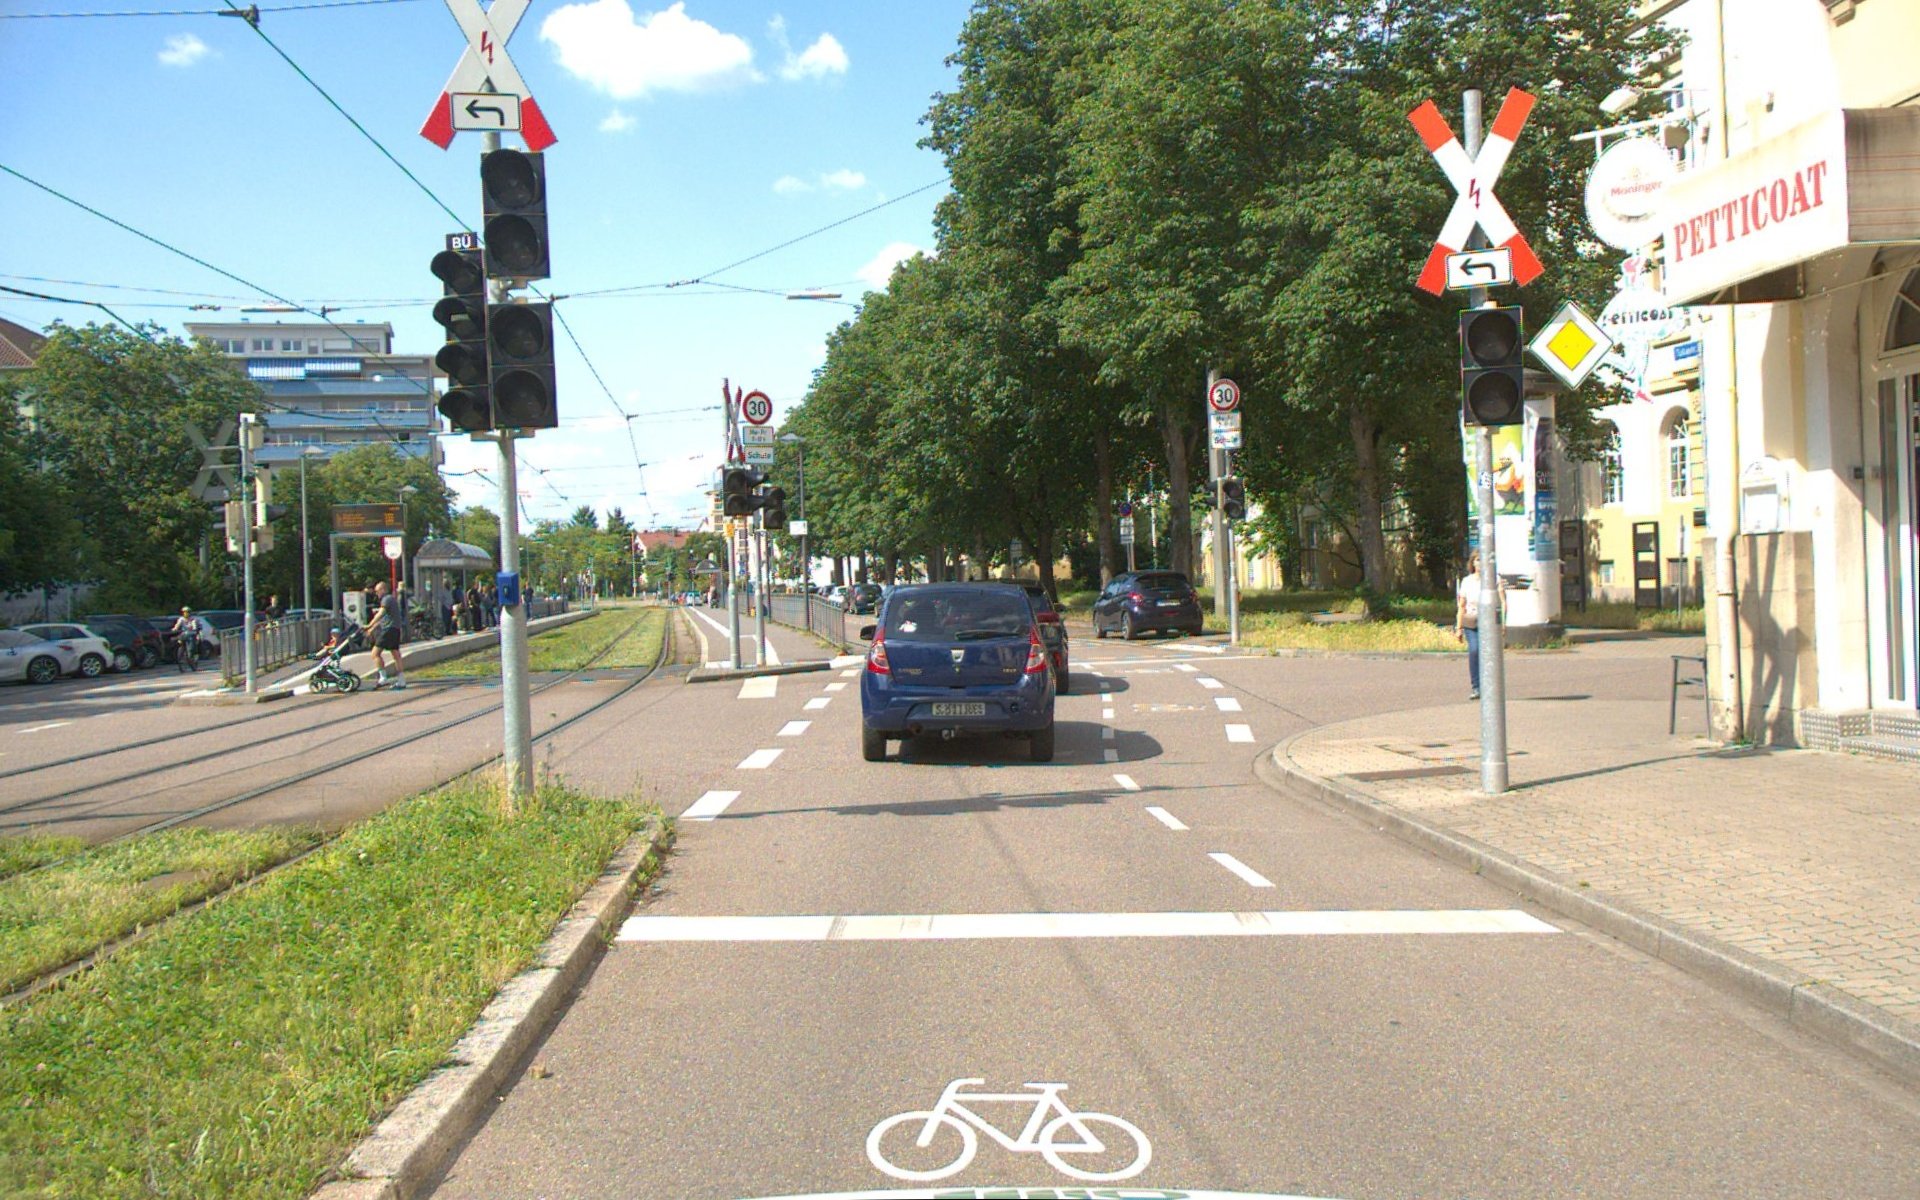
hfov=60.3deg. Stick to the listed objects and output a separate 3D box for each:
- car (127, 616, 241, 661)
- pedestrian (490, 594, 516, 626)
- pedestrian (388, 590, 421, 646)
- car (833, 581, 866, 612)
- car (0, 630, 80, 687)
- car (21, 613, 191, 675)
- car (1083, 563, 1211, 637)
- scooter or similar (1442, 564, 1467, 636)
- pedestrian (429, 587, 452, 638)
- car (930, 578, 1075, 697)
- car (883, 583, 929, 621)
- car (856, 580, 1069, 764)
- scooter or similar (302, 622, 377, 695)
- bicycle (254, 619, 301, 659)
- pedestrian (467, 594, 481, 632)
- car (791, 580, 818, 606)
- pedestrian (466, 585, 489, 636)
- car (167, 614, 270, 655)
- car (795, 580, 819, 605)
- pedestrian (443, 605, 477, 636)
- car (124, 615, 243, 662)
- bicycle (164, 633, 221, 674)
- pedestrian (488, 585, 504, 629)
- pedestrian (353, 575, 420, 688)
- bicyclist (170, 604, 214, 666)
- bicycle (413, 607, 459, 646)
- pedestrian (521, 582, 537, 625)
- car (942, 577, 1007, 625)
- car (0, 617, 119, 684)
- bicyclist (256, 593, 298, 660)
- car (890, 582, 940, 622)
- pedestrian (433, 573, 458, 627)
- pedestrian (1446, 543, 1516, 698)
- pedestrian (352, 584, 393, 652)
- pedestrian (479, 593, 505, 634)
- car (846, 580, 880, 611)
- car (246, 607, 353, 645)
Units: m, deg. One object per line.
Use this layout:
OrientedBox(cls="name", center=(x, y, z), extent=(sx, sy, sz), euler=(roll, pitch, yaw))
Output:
OrientedBox(cls="car", center=(-26.409, 1.304, 56.346), extent=(1.426, 1.332, 3.236), euler=(-2, 1, 34))
OrientedBox(cls="pedestrian", center=(-22.040, 0.461, 79.741), extent=(1.016, 1.462, 0.698), euler=(-4, 1, -24))
OrientedBox(cls="pedestrian", center=(-16.250, 0.525, 48.401), extent=(0.650, 1.596, 0.685), euler=(-4, 1, -2))
OrientedBox(cls="car", center=(-6.648, -0.213, 99.376), extent=(1.588, 1.780, 3.992), euler=(-2, 1, -9))
OrientedBox(cls="car", center=(-23.002, 1.430, 39.300), extent=(1.516, 1.257, 3.370), euler=(-2, 1, 41))
OrientedBox(cls="car", center=(-24.523, 1.240, 47.611), extent=(1.659, 1.482, 3.980), euler=(-3, 1, 40))
OrientedBox(cls="car", center=(4.068, -0.005, 36.586), extent=(1.734, 1.458, 3.894), euler=(-3, 1, -10))
OrientedBox(cls="scooter or similar", center=(8.462, -0.010, 28.336), extent=(0.299, 1.210, 1.163), euler=(-2, 1, 13))
OrientedBox(cls="pedestrian", center=(-18.441, 0.437, 58.717), extent=(0.582, 1.766, 0.556), euler=(-3, 0, -5))
OrientedBox(cls="car", center=(0.493, 0.436, 22.218), extent=(1.666, 1.391, 3.513), euler=(-2, 1, -3))
OrientedBox(cls="car", center=(-2.419, 0.075, 73.314), extent=(1.815, 1.542, 3.997), euler=(-2, 1, -4))
OrientedBox(cls="car", center=(-0.020, 0.569, 15.503), extent=(1.732, 1.487, 3.774), euler=(-1, 1, -1))
OrientedBox(cls="scooter or similar", center=(-10.168, 0.948, 27.137), extent=(0.937, 1.083, 0.795), euler=(-4, 1, -10))
OrientedBox(cls="bicycle", center=(-21.956, 1.241, 53.260), extent=(1.136, 1.198, 1.780), euler=(-4, 0, -16))
OrientedBox(cls="pedestrian", center=(-19.494, 0.527, 66.342), extent=(0.481, 1.477, 0.461), euler=(-3, 1, -19))
OrientedBox(cls="car", center=(-11.091, -0.519, 118.006), extent=(1.794, 1.792, 3.997), euler=(-2, 1, -4))
OrientedBox(cls="pedestrian", center=(-17.513, 0.383, 60.055), extent=(0.592, 1.796, 0.639), euler=(-2, 0, 0))
OrientedBox(cls="car", center=(-27.811, 1.287, 62.131), extent=(1.426, 1.332, 3.236), euler=(-2, 1, 34))
OrientedBox(cls="car", center=(-11.487, -0.575, 124.106), extent=(1.635, 1.802, 3.995), euler=(-2, 1, -6))
OrientedBox(cls="pedestrian", center=(-17.013, 0.693, 56.300), extent=(0.907, 1.006, 0.796), euler=(-4, 0, -8))
OrientedBox(cls="car", center=(-25.299, 1.238, 53.997), extent=(1.425, 1.332, 3.239), euler=(-2, 1, 32))
OrientedBox(cls="bicycle", center=(-20.646, 1.431, 44.532), extent=(0.667, 0.987, 2.176), euler=(-3, 1, -6))
OrientedBox(cls="pedestrian", center=(-18.721, 0.297, 66.720), extent=(0.481, 1.742, 0.461), euler=(-3, 1, -19))
OrientedBox(cls="pedestrian", center=(-9.551, 0.515, 27.590), extent=(0.855, 1.806, 1.001), euler=(-2, 0, -11))
OrientedBox(cls="bicyclist", center=(-20.681, 0.927, 44.553), extent=(0.770, 1.609, 0.862), euler=(-3, 1, -6))
OrientedBox(cls="bicycle", center=(-15.245, 0.759, 48.142), extent=(0.672, 0.991, 1.771), euler=(-5, 1, 0))
OrientedBox(cls="pedestrian", center=(-20.889, 0.153, 80.115), extent=(0.649, 2.048, 0.801), euler=(-2, 0, -15))
OrientedBox(cls="car", center=(0.464, 0.018, 57.396), extent=(1.825, 1.470, 3.997), euler=(-4, 1, -4))
OrientedBox(cls="car", center=(-23.584, 1.287, 42.299), extent=(1.517, 1.531, 3.368), euler=(-2, 1, 42))
OrientedBox(cls="bicyclist", center=(-22.000, 0.829, 53.312), extent=(0.933, 2.048, 1.569), euler=(-5, 1, -17))
OrientedBox(cls="car", center=(-1.893, 0.070, 68.692), extent=(1.825, 1.470, 3.997), euler=(-4, 1, -4))
OrientedBox(cls="pedestrian", center=(-17.073, -0.001, 54.893), extent=(0.643, 1.721, 0.655), euler=(-3, 1, -9))
OrientedBox(cls="pedestrian", center=(5.874, 0.225, 18.621), extent=(0.658, 1.677, 0.764), euler=(-3, 0, 19))
OrientedBox(cls="pedestrian", center=(-15.382, 0.469, 43.306), extent=(0.699, 1.756, 0.666), euler=(-2, 1, 32))
OrientedBox(cls="pedestrian", center=(-17.152, 0.508, 60.662), extent=(0.641, 1.450, 0.562), euler=(-3, 1, 28))
OrientedBox(cls="car", center=(-5.363, -0.257, 91.146), extent=(1.792, 1.564, 3.997), euler=(-3, 1, -4))
OrientedBox(cls="car", center=(-28.863, 1.129, 72.374), extent=(1.684, 1.391, 3.981), euler=(-3, 1, 39))
